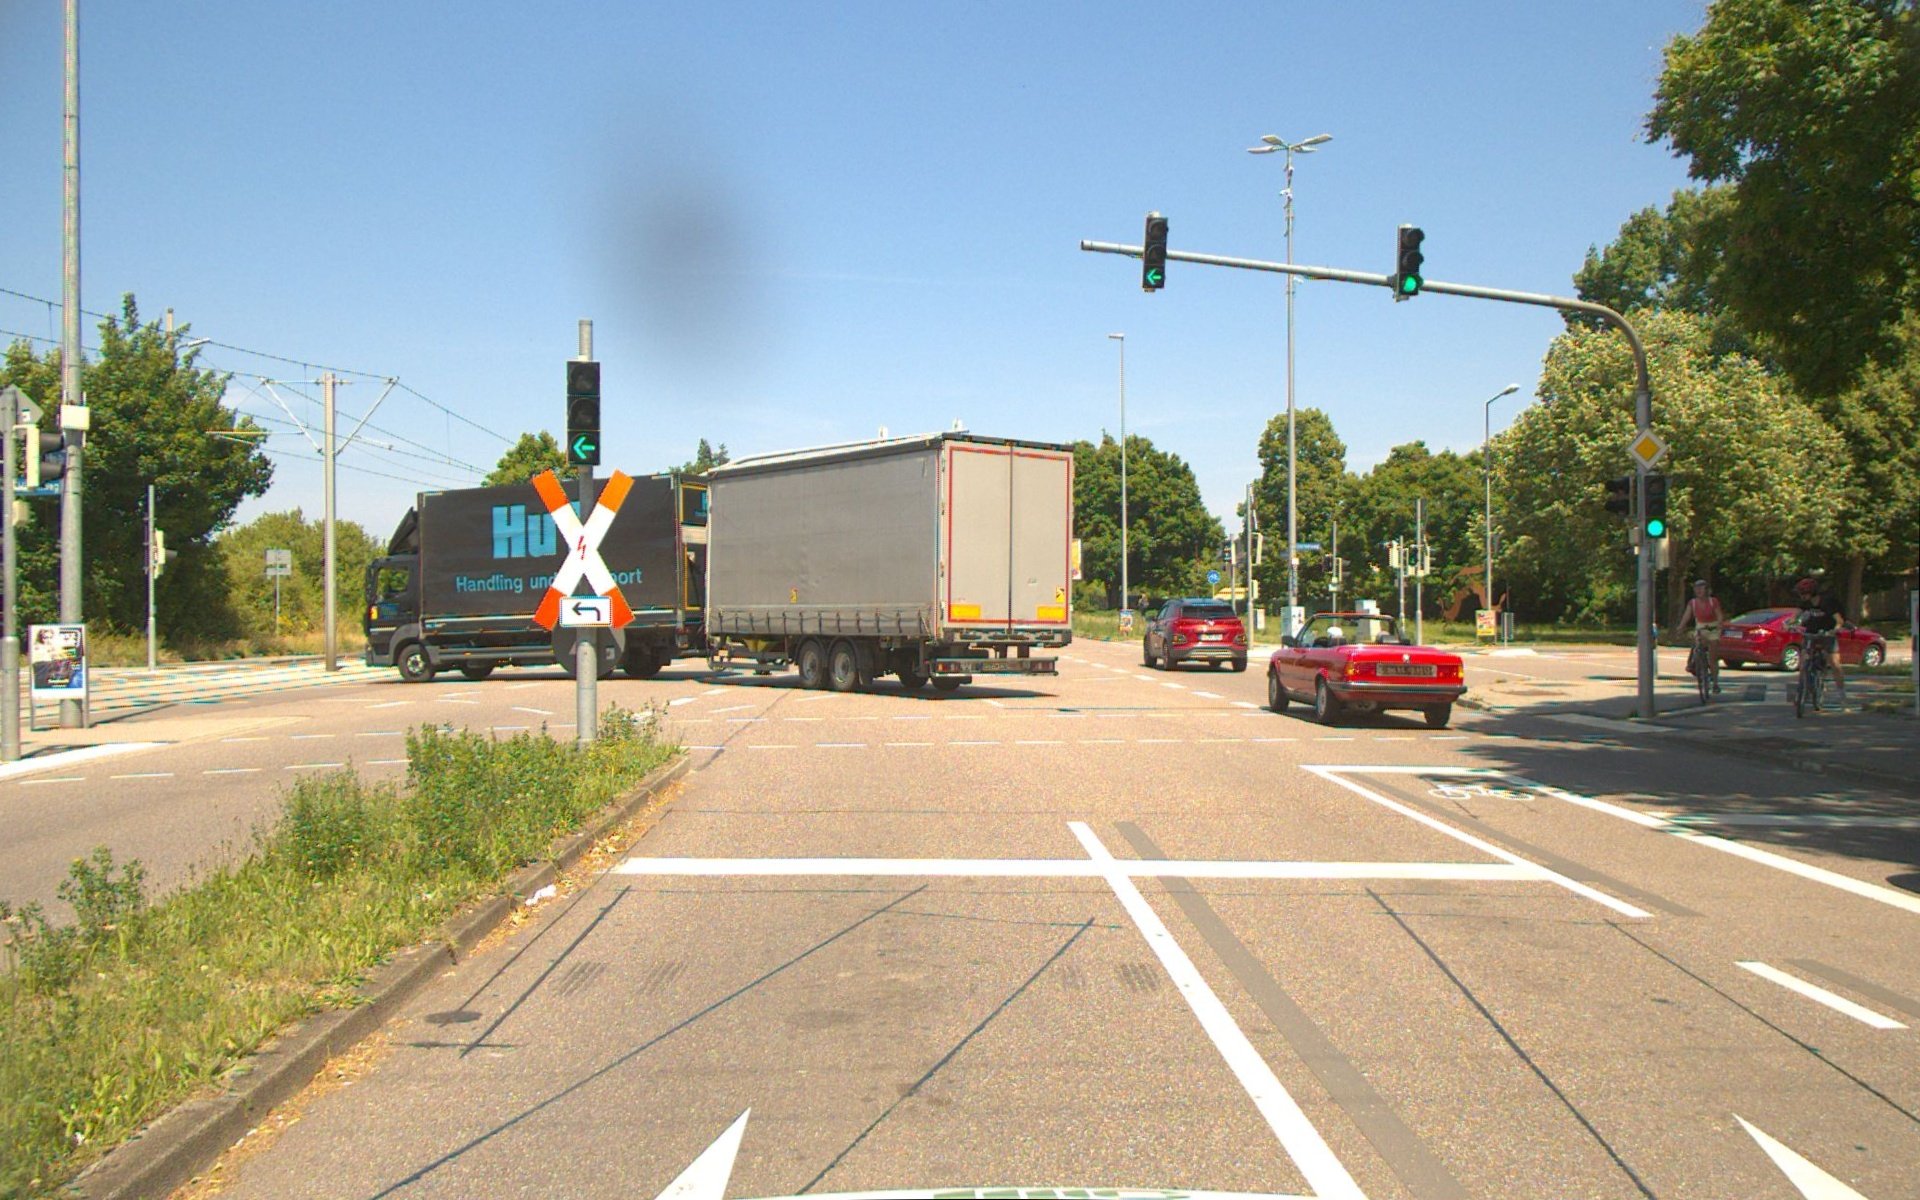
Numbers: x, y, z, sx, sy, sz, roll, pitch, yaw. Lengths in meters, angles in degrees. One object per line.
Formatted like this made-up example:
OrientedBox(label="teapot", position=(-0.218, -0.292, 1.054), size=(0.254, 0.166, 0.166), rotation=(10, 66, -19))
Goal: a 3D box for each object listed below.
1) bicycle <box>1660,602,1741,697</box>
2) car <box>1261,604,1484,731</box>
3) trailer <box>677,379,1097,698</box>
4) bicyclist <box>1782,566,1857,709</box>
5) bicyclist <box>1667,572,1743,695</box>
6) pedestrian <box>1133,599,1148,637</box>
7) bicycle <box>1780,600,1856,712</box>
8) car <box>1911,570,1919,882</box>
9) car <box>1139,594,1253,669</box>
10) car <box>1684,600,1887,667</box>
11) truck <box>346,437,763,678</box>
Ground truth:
OrientedBox(label="bicycle", position=(10.936, 0.709, 24.483), size=(0.631, 1.327, 1.627), rotation=(-3, -1, 9))
OrientedBox(label="car", position=(5.193, 0.794, 21.385), size=(1.622, 1.421, 4.264), rotation=(1, 0, -3))
OrientedBox(label="trailer", position=(-1.558, -0.830, 27.699), size=(2.804, 4.499, 8.638), rotation=(1, -1, -36))
OrientedBox(label="bicyclist", position=(10.735, 0.462, 20.657), size=(0.711, 1.733, 0.677), rotation=(-3, -1, 31))
OrientedBox(label="bicyclist", position=(10.931, 0.486, 24.287), size=(0.785, 1.757, 0.679), rotation=(-3, -1, 9))
OrientedBox(label="pedestrian", position=(9.913, 0.978, 90.887), size=(0.727, 2.049, 0.613), rotation=(1, 0, -1))
OrientedBox(label="bicycle", position=(10.736, 0.686, 20.669), size=(0.711, 1.318, 1.301), rotation=(-3, -1, 31))
OrientedBox(label="car", position=(6.123, 0.702, 6.846), size=(1.665, 1.683, 4.396), rotation=(1, 0, -3))
OrientedBox(label="car", position=(5.260, 0.661, 37.261), size=(1.821, 1.576, 3.885), rotation=(1, 0, -3))
OrientedBox(label="car", position=(20.206, 0.784, 40.518), size=(4.421, 1.529, 1.989), rotation=(-1, 1, -20))
OrientedBox(label="truck", position=(-8.195, -0.681, 33.261), size=(8.090, 4.421, 2.835), rotation=(-1, -2, 24))
